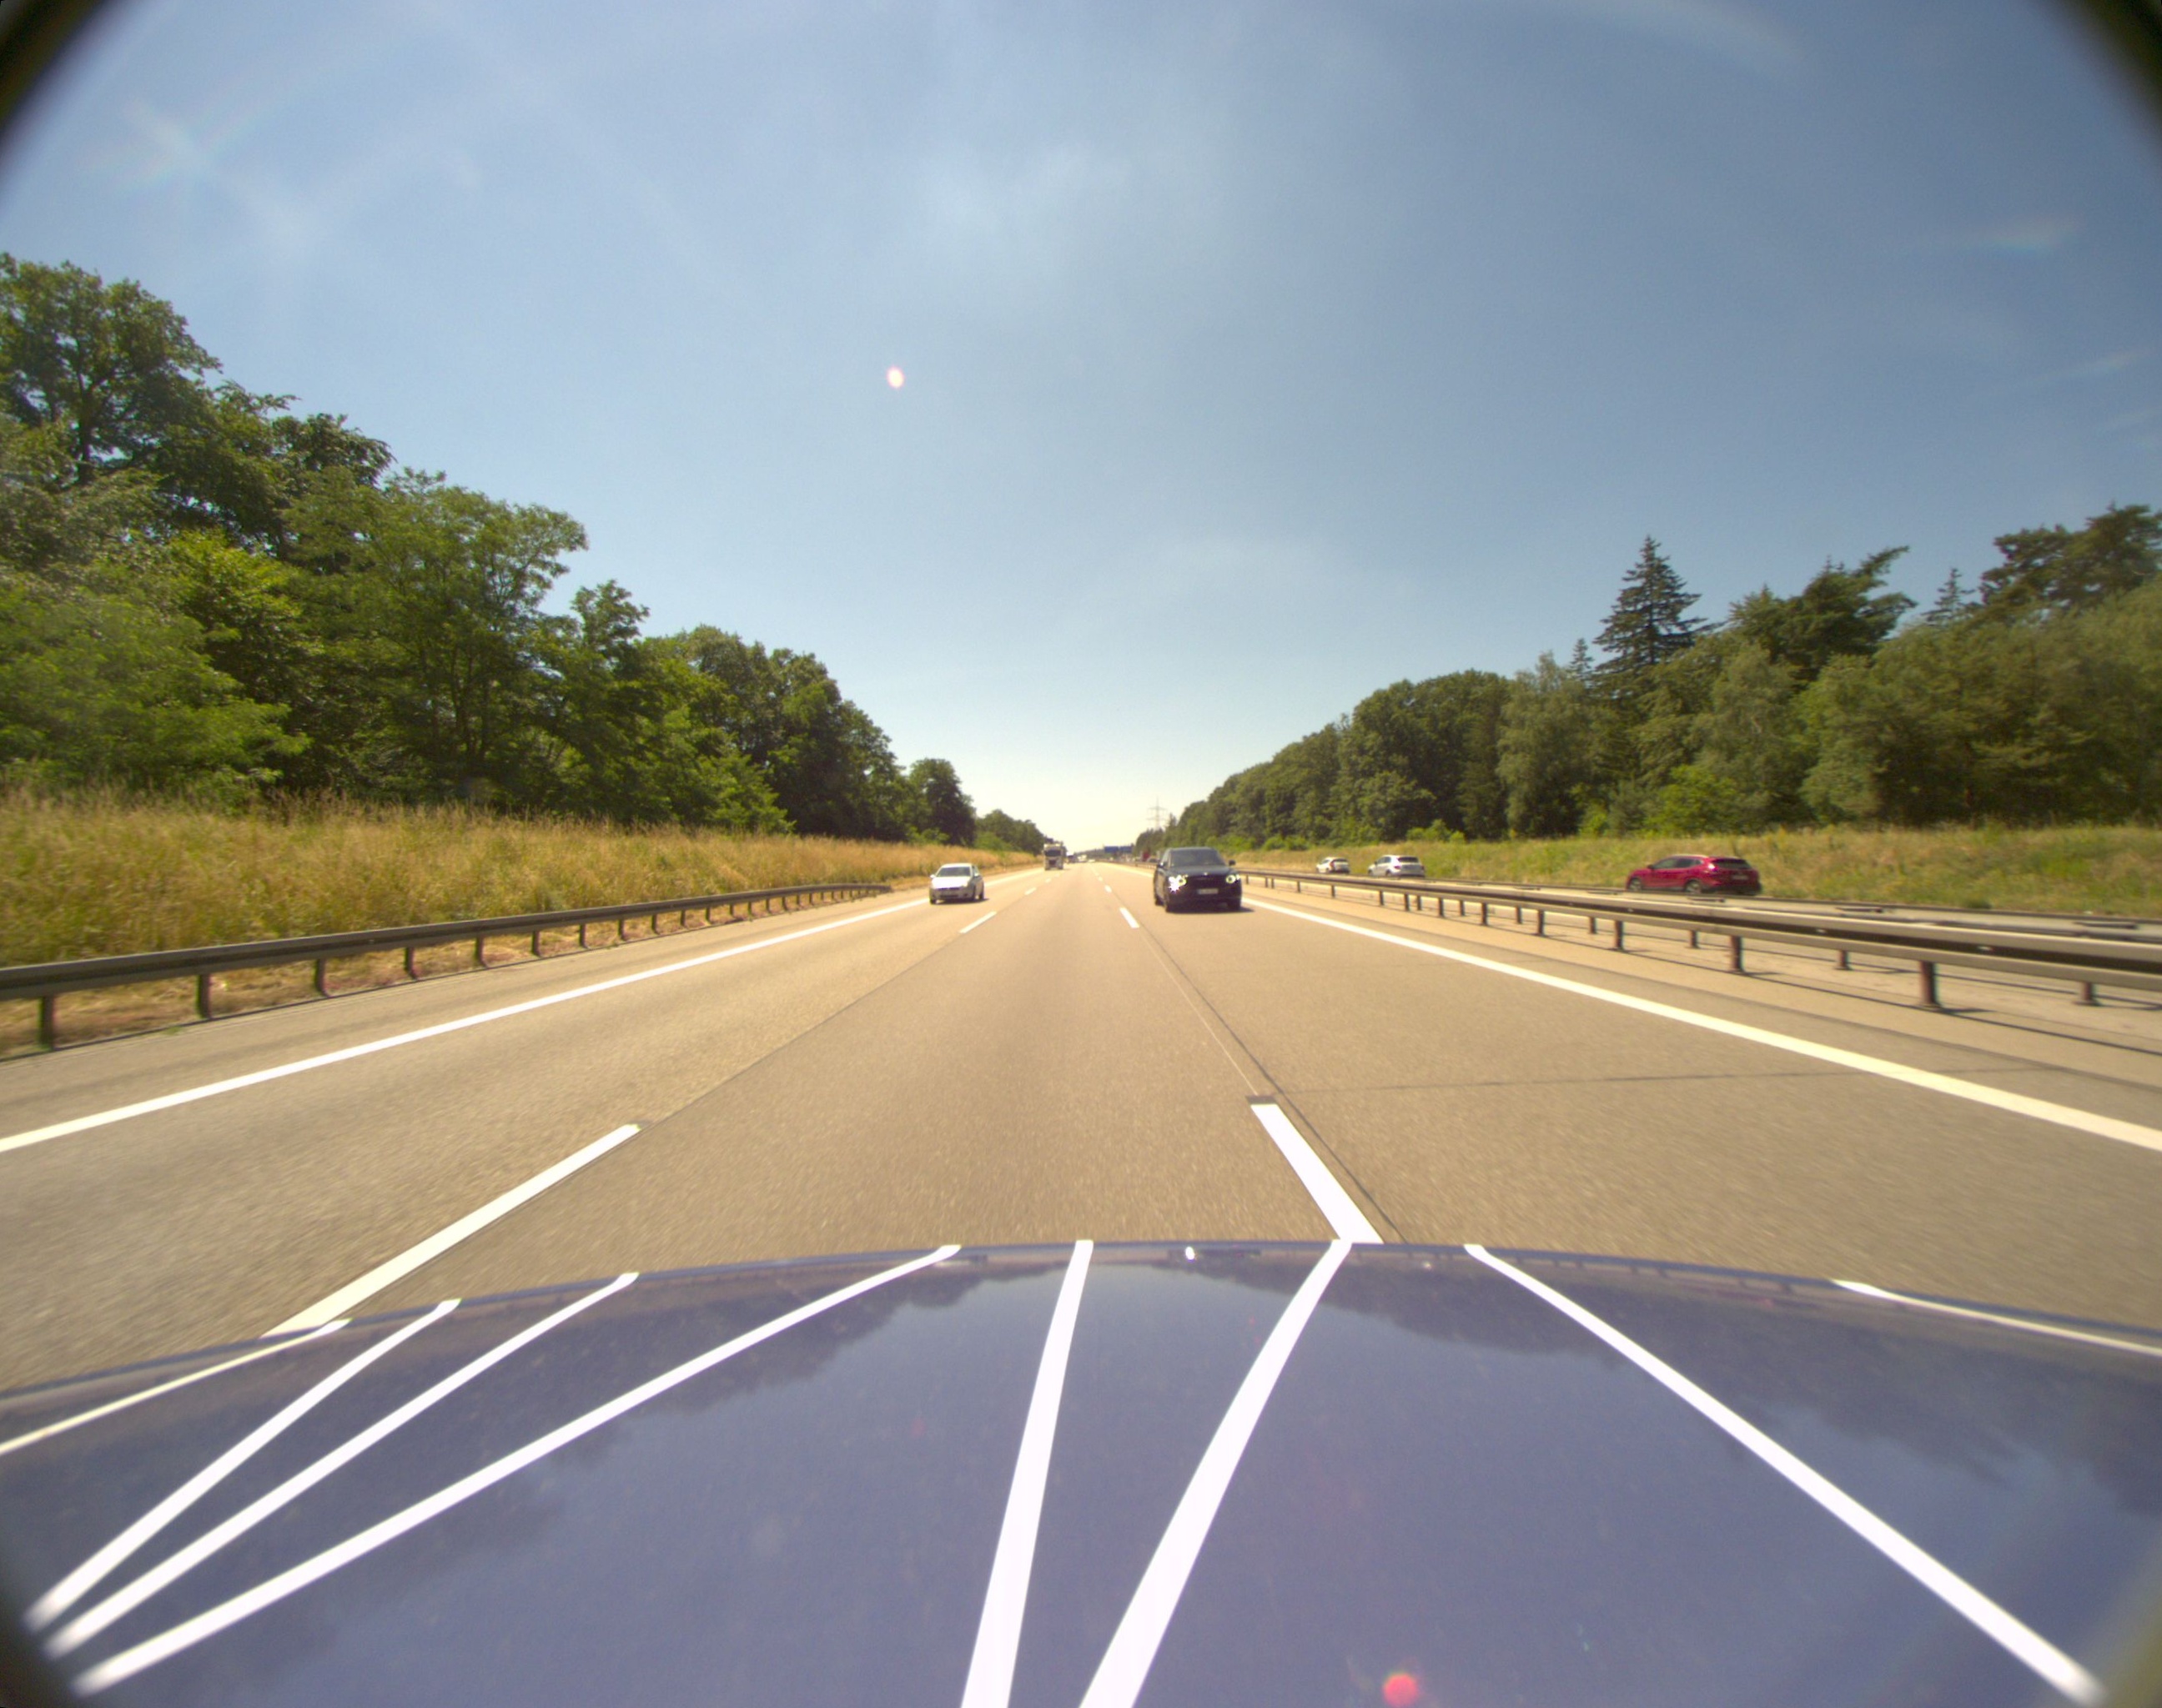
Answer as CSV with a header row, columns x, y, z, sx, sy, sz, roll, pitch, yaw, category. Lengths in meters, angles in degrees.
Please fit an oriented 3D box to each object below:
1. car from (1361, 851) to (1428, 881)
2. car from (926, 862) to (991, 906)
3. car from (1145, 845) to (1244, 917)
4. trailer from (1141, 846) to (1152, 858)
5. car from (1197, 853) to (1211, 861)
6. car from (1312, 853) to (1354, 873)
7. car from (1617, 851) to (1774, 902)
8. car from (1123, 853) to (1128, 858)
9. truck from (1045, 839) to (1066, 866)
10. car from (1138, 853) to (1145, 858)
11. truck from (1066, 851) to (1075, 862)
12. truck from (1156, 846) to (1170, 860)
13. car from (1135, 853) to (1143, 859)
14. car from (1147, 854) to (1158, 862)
x,y,z,sx,sy,sz,roll,pitch,yaw,category
16.743,0.619,40.783,1.651,1.490,4.560,1,0,0,car
-4.692,1.103,29.605,1.749,1.457,3.980,-2,0,1,car
3.121,0.704,22.131,1.945,1.742,5.813,-2,0,0,car
23.429,-0.645,272.091,2.512,3.991,14.367,1,0,1,trailer
22.128,0.527,137.116,1.675,1.401,4.597,1,0,0,car
20.865,0.734,63.016,1.799,1.508,4.903,1,0,0,car
20.994,0.714,26.250,1.650,1.581,4.611,1,0,0,car
14.426,0.508,247.284,1.520,1.459,3.639,1,0,0,car
-3.691,-0.185,111.321,2.605,3.811,5.969,-3,0,0,truck
19.046,0.520,237.659,1.731,1.636,5.088,1,0,0,car
-3.680,0.794,262.310,2.593,3.534,8.649,-3,0,0,truck
22.431,-0.259,208.870,2.739,3.498,10.441,1,0,0,truck
15.148,0.591,199.337,1.766,1.451,5.120,1,0,0,car
13.880,0.750,147.777,1.703,1.421,4.574,1,0,0,car
